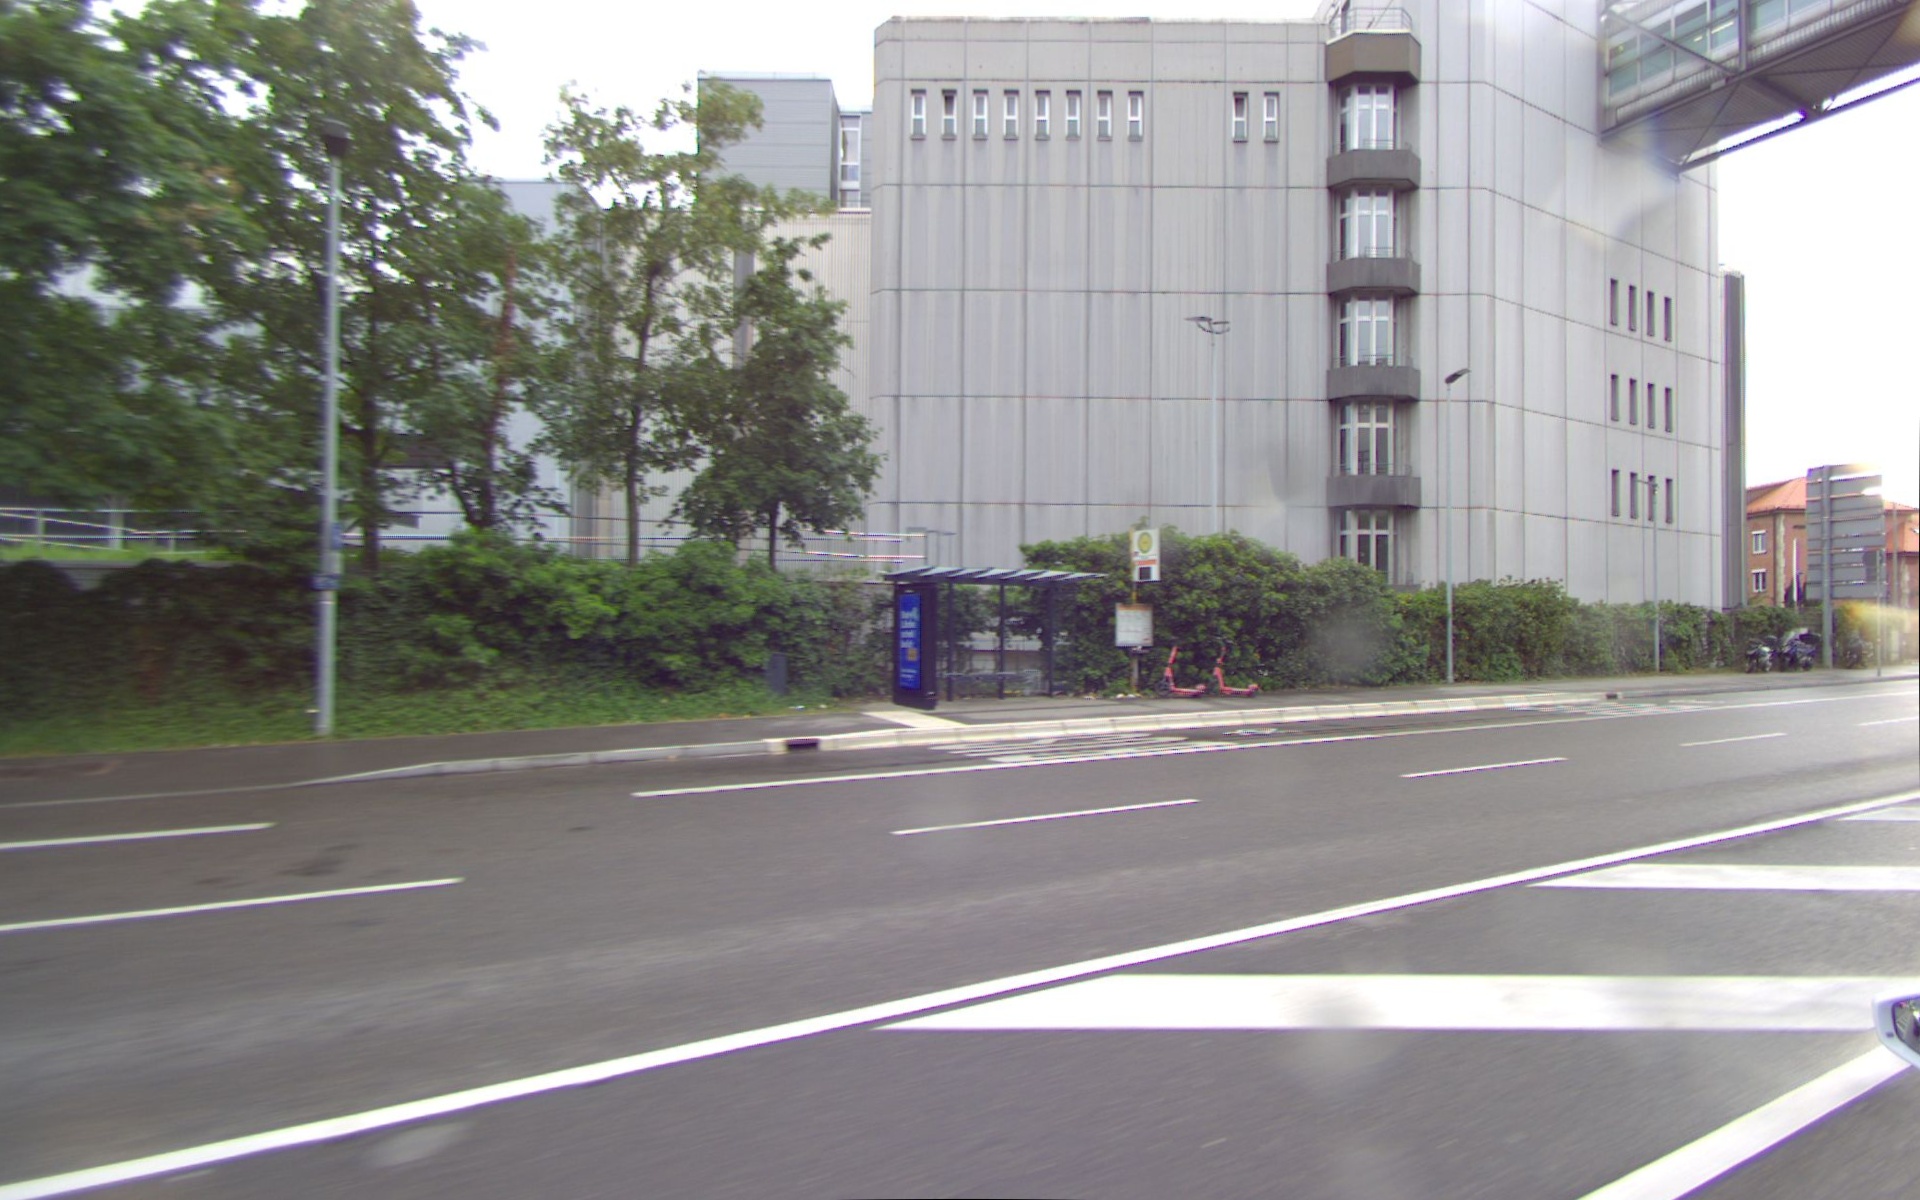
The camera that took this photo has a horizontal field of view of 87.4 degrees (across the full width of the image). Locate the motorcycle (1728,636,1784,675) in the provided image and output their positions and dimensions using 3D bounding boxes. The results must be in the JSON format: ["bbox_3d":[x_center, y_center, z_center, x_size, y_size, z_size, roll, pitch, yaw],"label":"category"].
[{"bbox_3d":[27.241,1.877,34.368,2.132,1.267,0.781,1,-2,-30],"label":"motorcycle"}]

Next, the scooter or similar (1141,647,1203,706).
[{"bbox_3d":[4.374,1.568,20.738,1.230,1.196,0.388,0,-2,-16],"label":"scooter or similar"}]

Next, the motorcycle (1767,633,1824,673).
[{"bbox_3d":[29.573,1.849,35.535,2.342,1.365,0.781,1,-2,-30],"label":"motorcycle"}]

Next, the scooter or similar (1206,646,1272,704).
[{"bbox_3d":[5.940,1.582,21.386,1.355,1.196,0.378,0,-2,-16],"label":"scooter or similar"}]

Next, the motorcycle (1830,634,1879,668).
[{"bbox_3d":[34.267,1.935,38.478,2.132,1.263,0.781,1,-2,-30],"label":"motorcycle"}]
